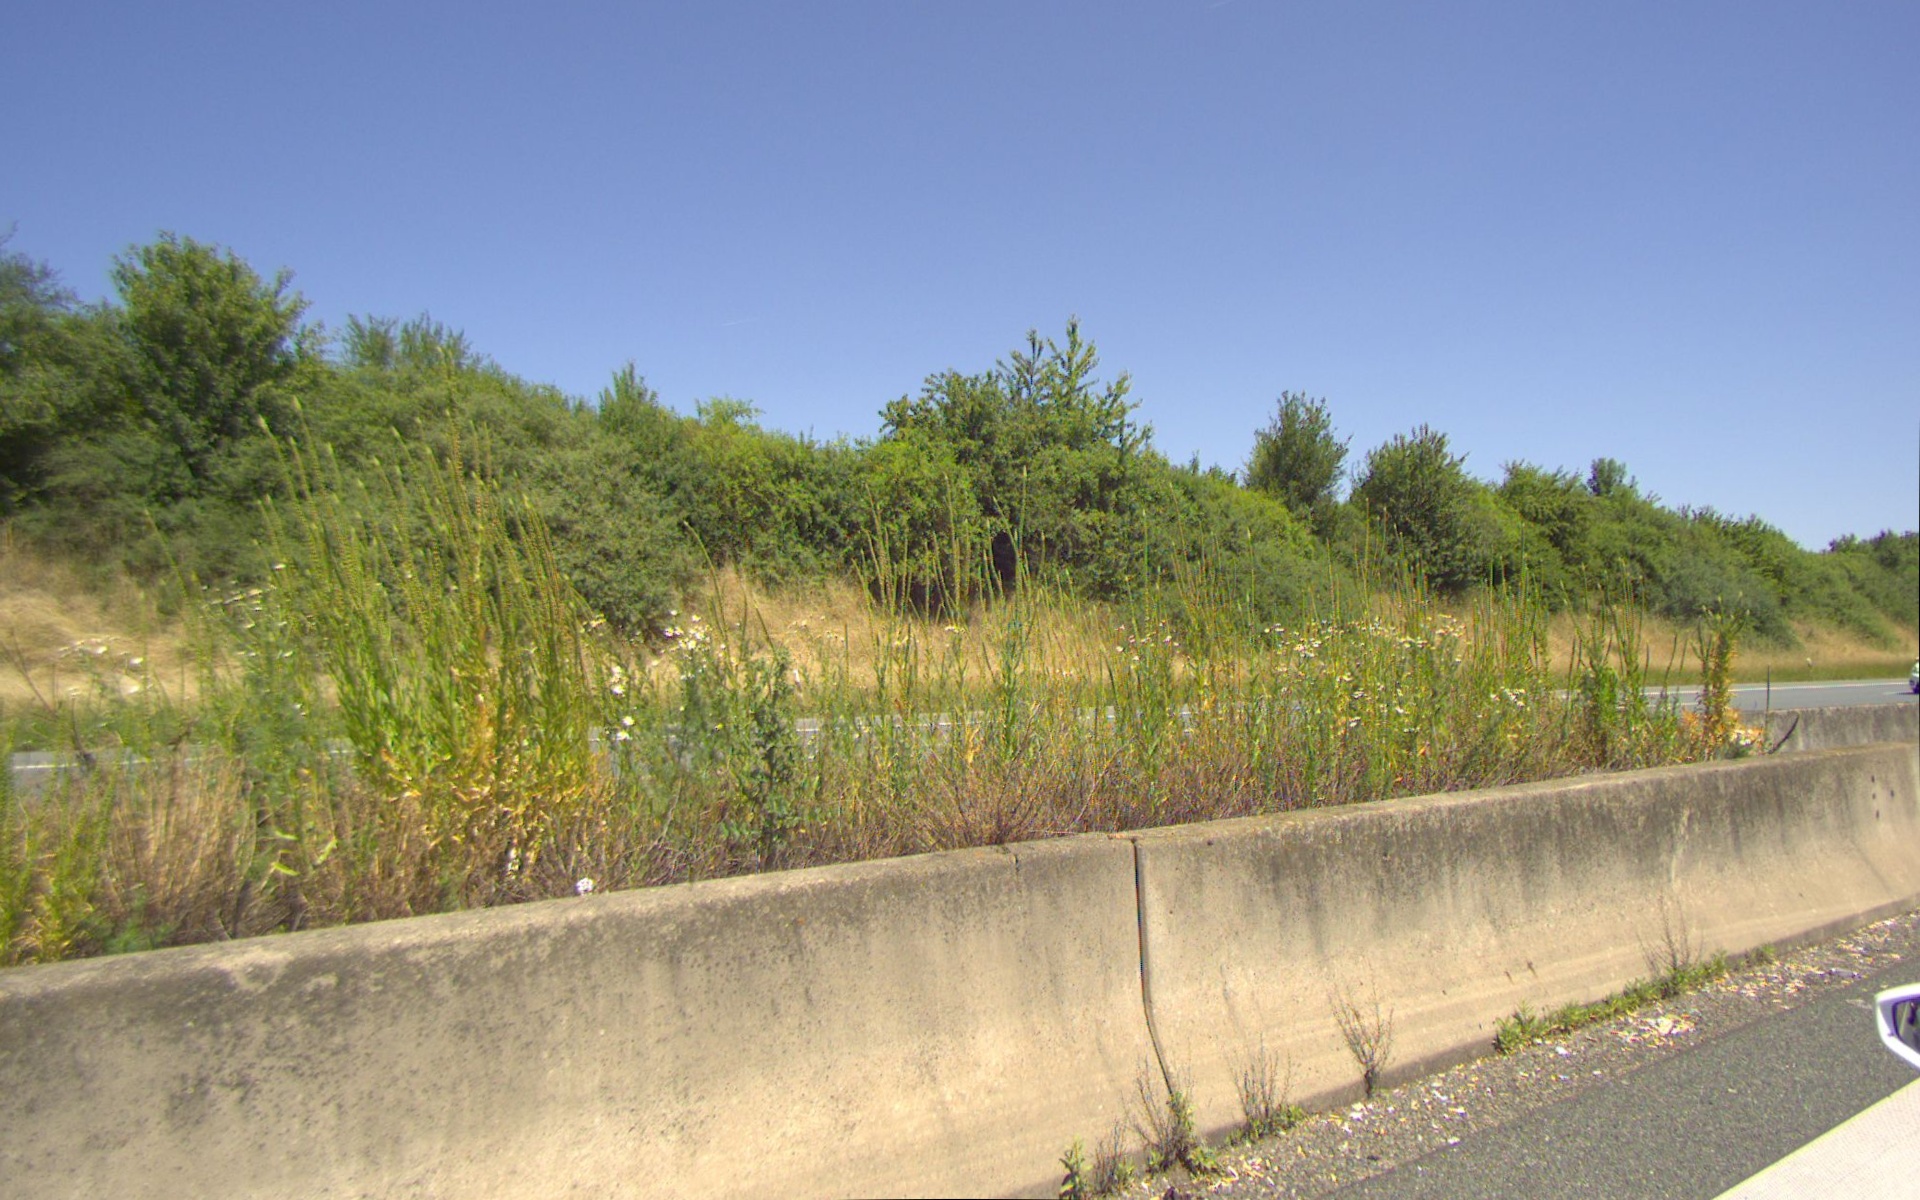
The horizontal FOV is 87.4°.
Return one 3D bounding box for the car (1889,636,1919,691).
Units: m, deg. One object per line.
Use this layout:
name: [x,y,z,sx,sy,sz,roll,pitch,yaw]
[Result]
car: [31.332,1.986,31.585,4.180,1.684,1.984,1,-2,-30]
